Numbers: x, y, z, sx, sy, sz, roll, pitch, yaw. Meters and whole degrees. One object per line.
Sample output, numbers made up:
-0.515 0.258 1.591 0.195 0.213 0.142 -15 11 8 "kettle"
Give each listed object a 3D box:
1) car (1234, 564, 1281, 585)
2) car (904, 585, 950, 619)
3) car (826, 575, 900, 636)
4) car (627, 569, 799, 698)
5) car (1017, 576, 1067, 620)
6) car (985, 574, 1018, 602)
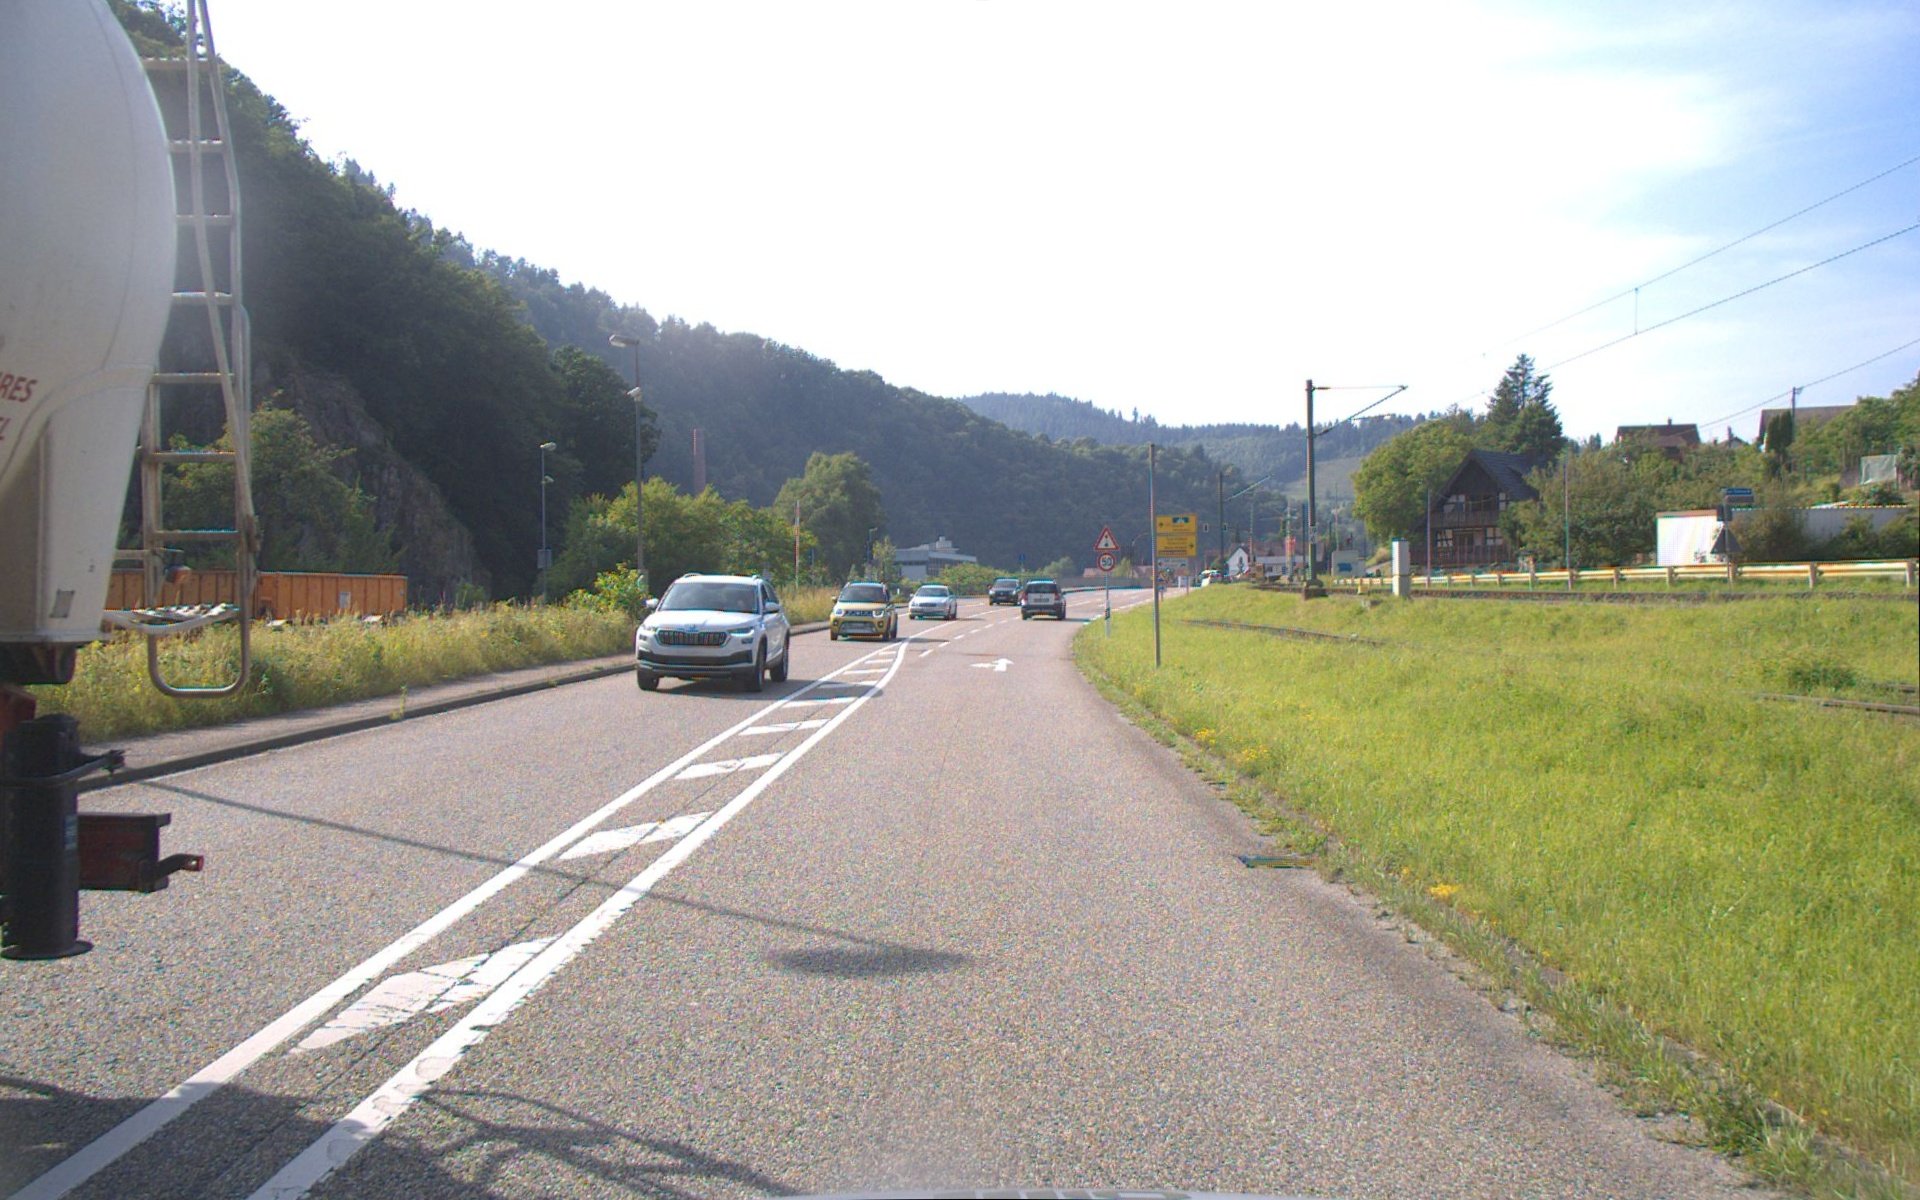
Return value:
35.412 -3.038 197.014 5.169 2.048 2.001 -3 0 19 "car"
-1.362 0.069 70.417 1.741 1.371 4.512 1 1 1 "car"
-2.716 0.127 46.956 1.688 1.653 3.798 0 1 3 "car"
-3.665 0.461 25.368 1.953 1.789 4.469 1 0 0 "car"
3.540 -0.100 71.981 1.953 1.753 3.990 -3 0 1 "car"
2.528 -0.761 99.763 1.808 1.612 4.318 0 1 3 "car"
